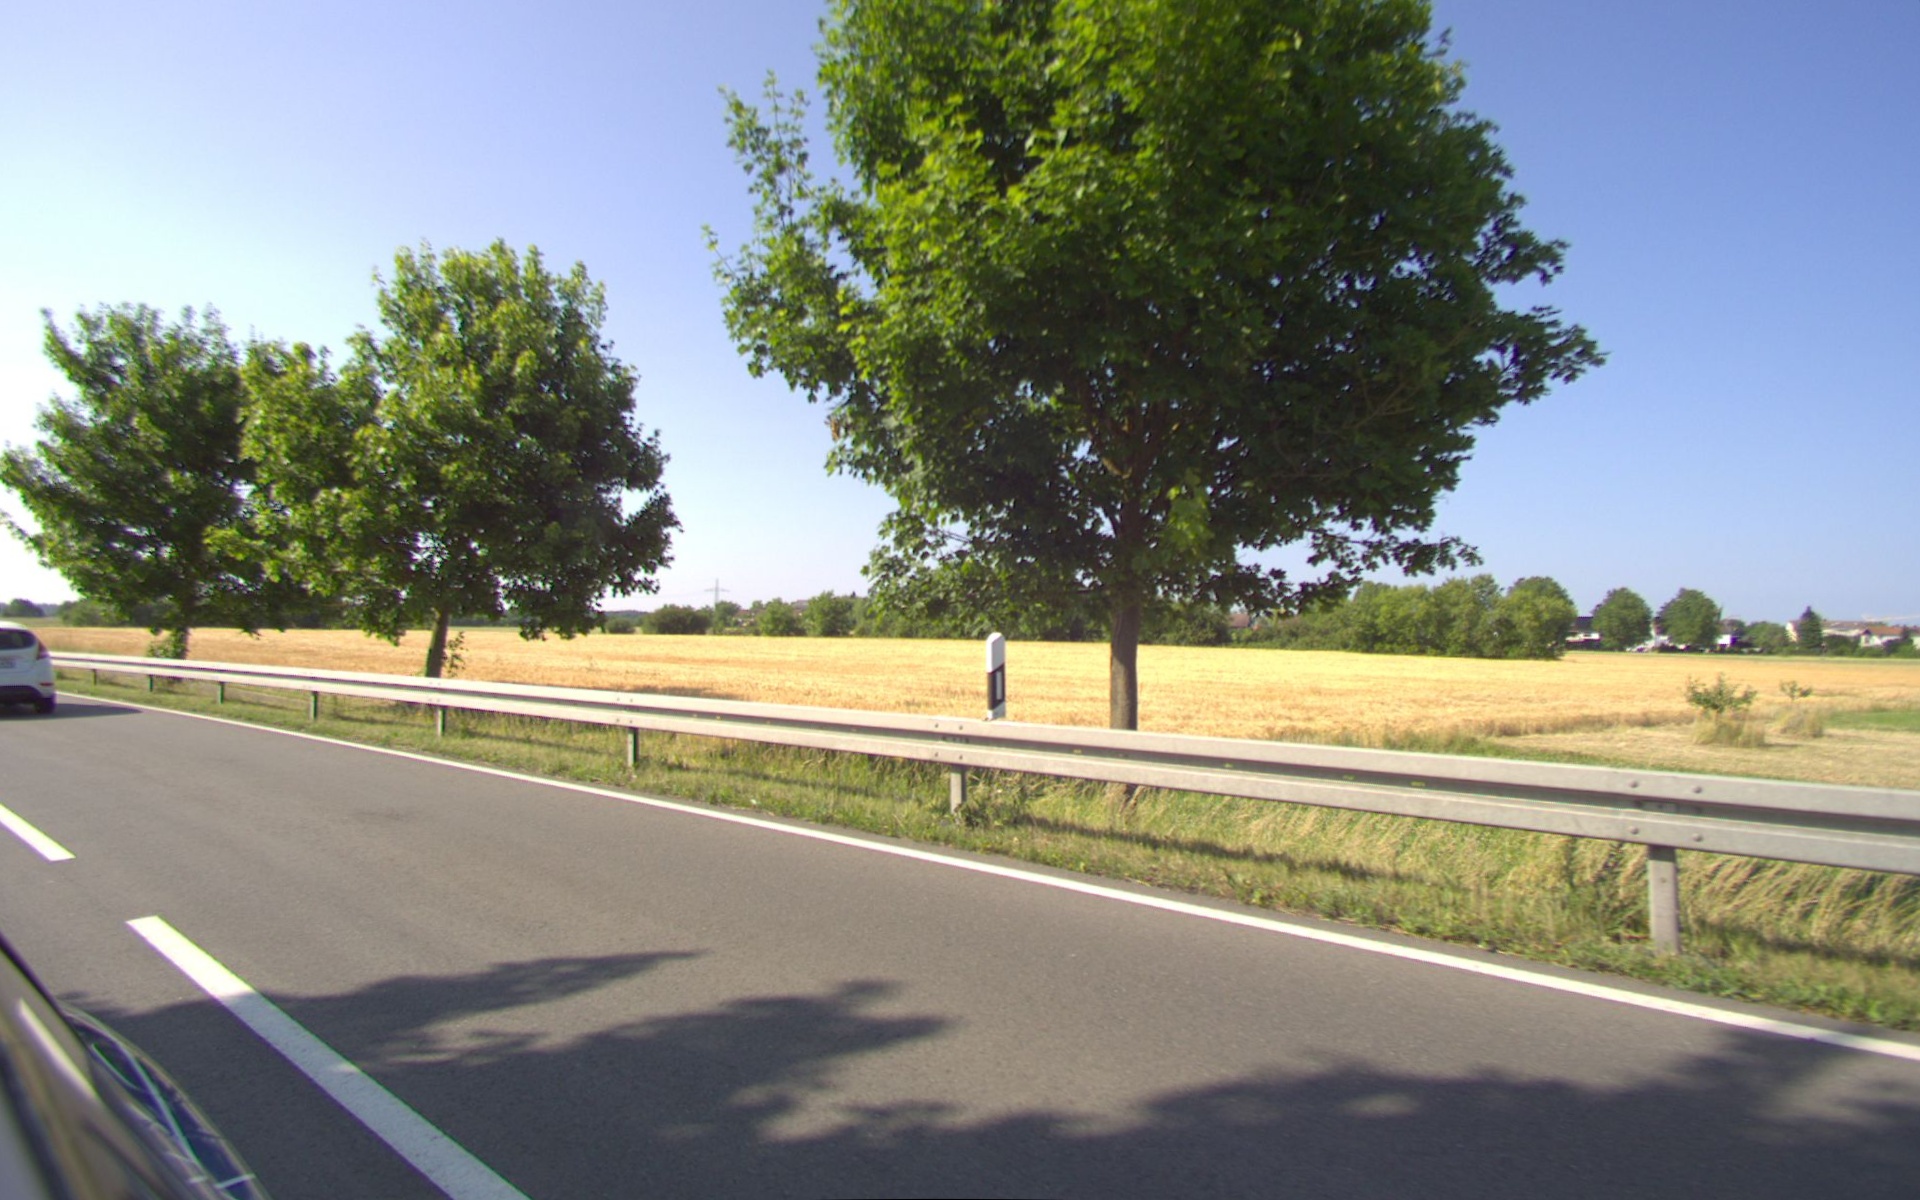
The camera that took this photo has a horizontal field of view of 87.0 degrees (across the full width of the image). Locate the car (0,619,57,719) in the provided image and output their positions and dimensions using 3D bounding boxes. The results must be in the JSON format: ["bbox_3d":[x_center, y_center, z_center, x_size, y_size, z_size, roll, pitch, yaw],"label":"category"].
[{"bbox_3d":[-16.008,1.067,16.199,3.842,1.440,1.734,0,0,39],"label":"car"}]
